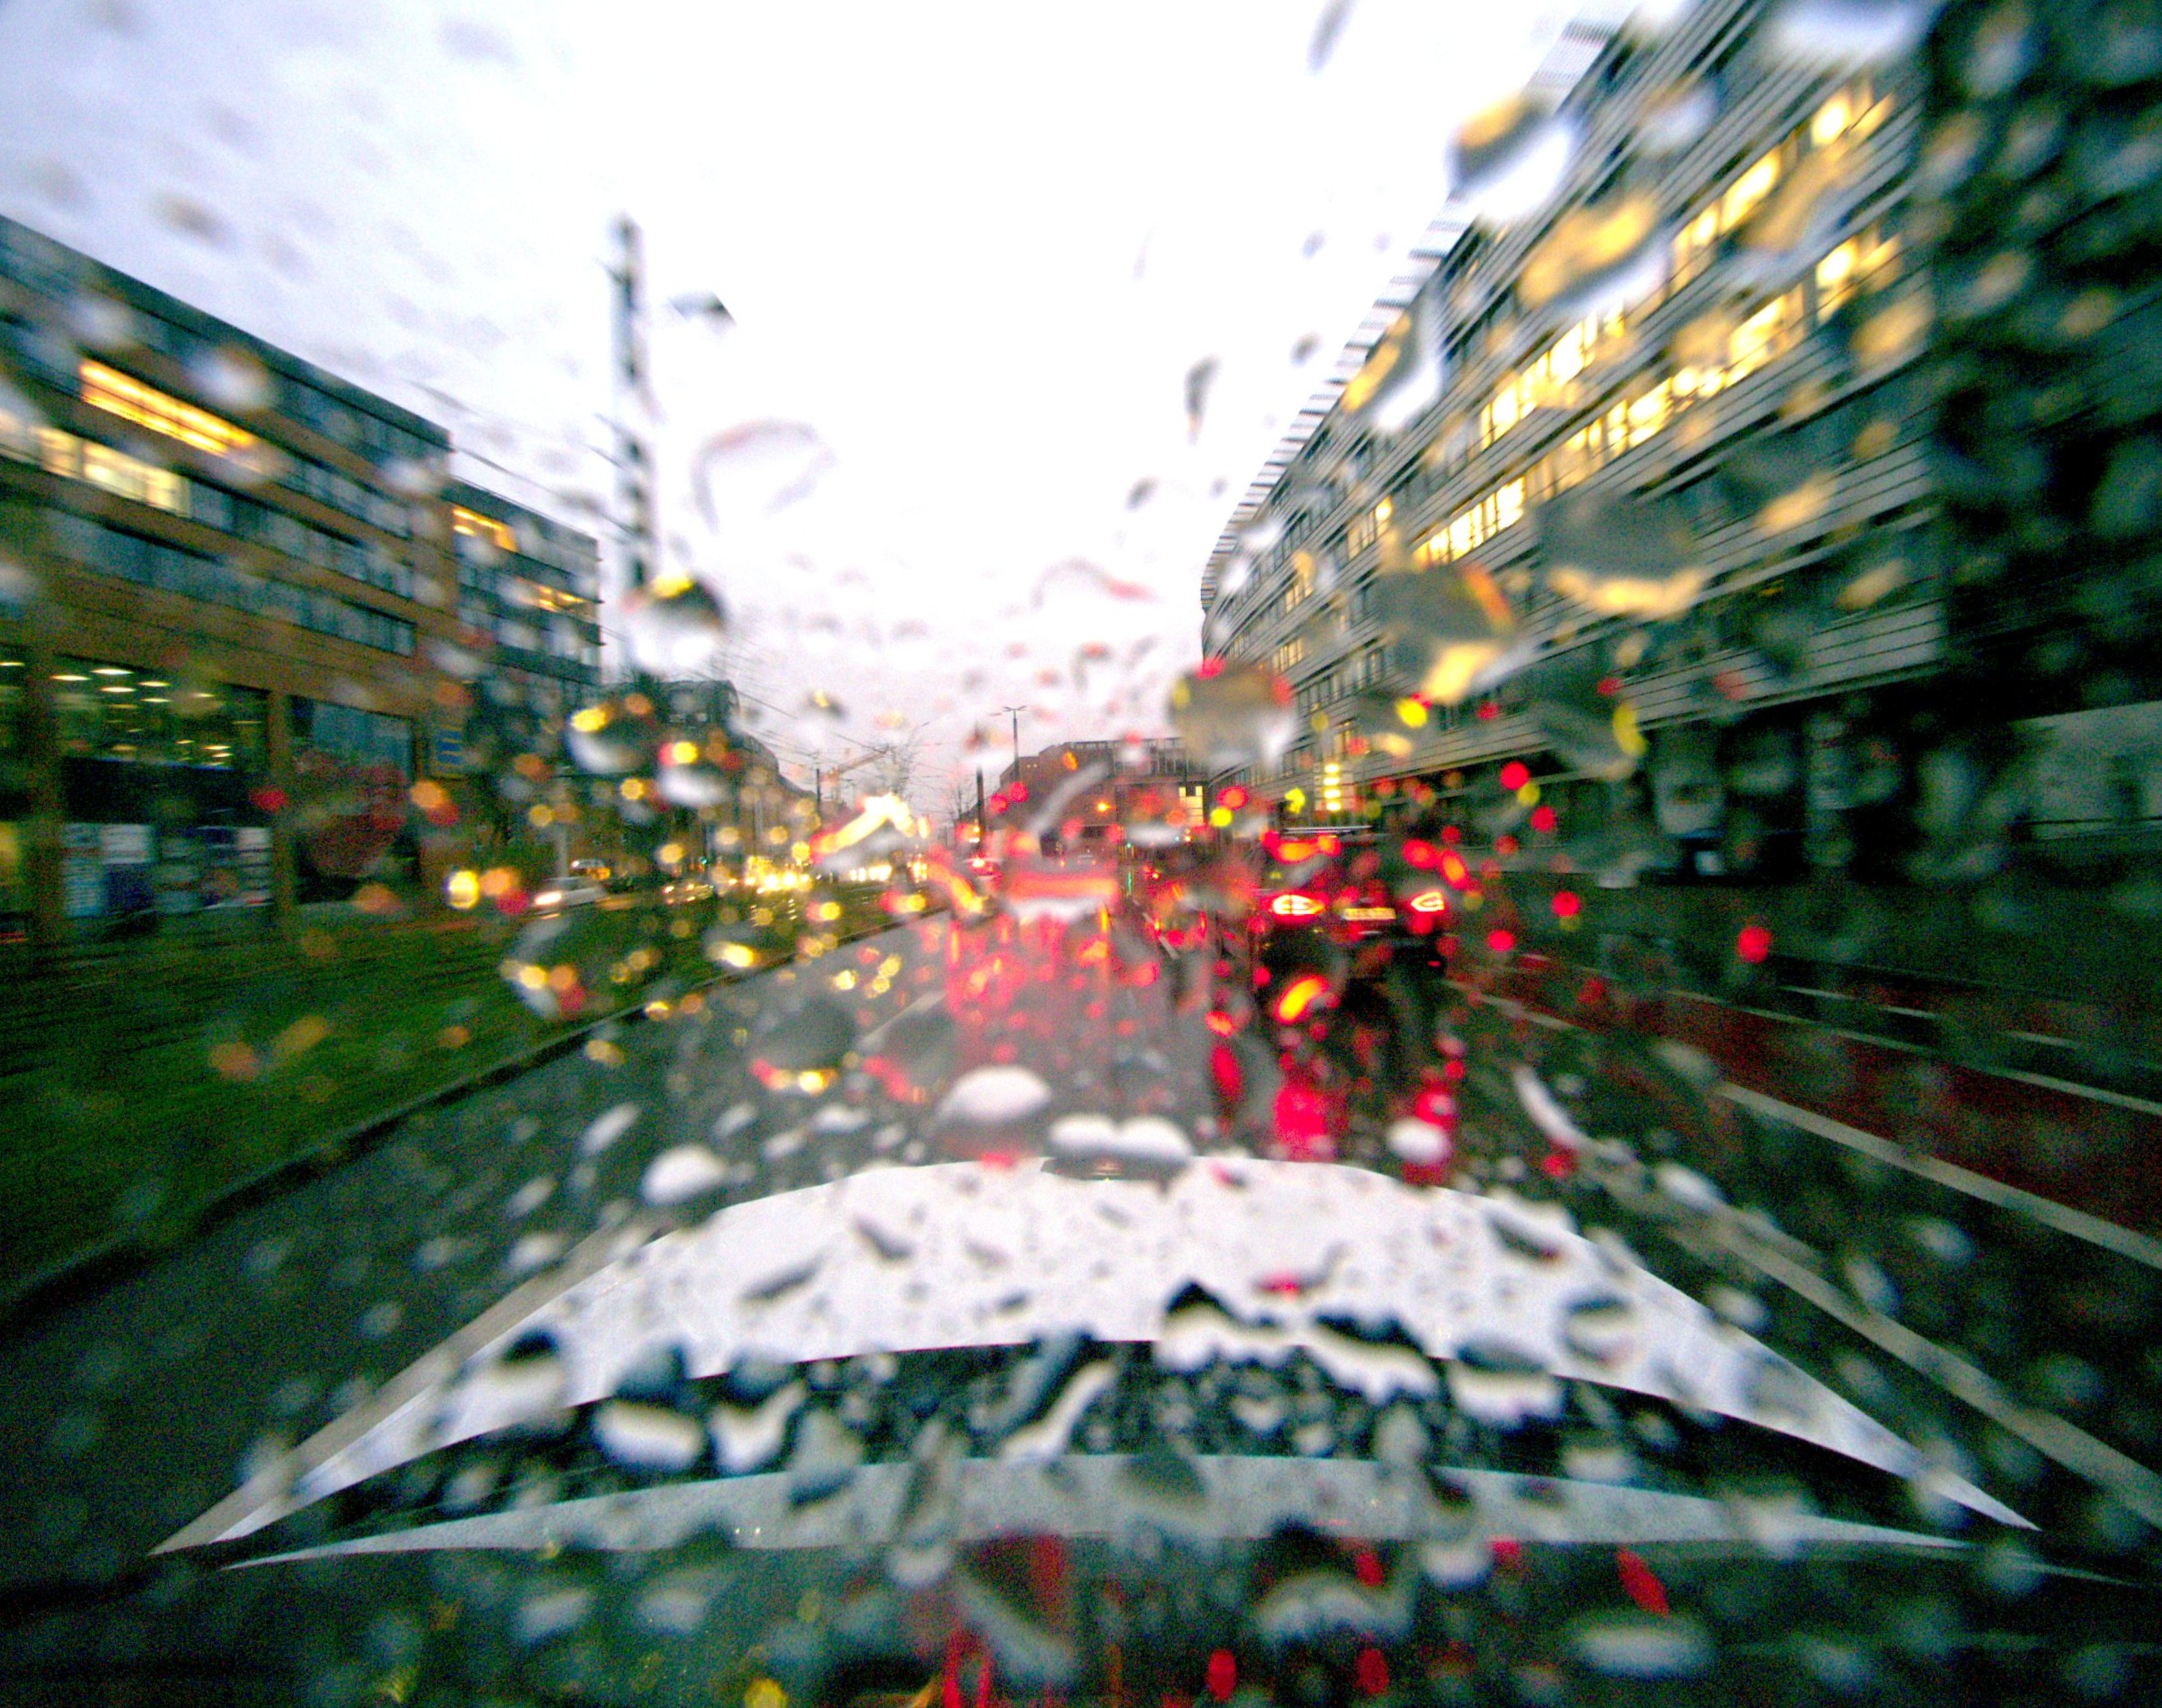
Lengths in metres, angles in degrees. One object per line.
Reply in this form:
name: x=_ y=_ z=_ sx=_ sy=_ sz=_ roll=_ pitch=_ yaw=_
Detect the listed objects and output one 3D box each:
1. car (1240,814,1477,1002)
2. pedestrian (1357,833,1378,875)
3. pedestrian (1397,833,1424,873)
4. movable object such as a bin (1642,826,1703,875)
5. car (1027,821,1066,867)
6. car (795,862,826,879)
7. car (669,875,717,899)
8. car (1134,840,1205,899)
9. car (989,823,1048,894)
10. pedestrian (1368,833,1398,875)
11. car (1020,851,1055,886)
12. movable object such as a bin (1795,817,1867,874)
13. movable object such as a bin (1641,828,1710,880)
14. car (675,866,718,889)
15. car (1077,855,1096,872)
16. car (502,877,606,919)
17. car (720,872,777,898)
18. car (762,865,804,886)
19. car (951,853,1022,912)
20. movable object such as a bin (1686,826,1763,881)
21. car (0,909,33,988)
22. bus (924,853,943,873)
car: x=3.067 y=0.520 z=9.864 sx=1.667 sy=1.779 sz=4.003 roll=-1 pitch=0 yaw=3
pedestrian: x=11.908 y=0.010 z=33.832 sx=0.529 sy=1.683 sz=0.745 roll=-3 pitch=0 yaw=0
pedestrian: x=13.711 y=-0.047 z=33.896 sx=0.723 sy=1.625 sz=0.902 roll=-3 pitch=0 yaw=0
movable object such as a bin: x=16.766 y=-0.093 z=23.093 sx=0.865 sy=1.294 sz=1.009 roll=-4 pitch=0 yaw=-10
car: x=-2.266 y=-0.630 z=54.810 sx=2.349 sy=2.827 sz=6.353 roll=-2 pitch=0 yaw=-2
car: x=-25.231 y=1.547 z=76.115 sx=1.627 sy=1.449 sz=3.621 roll=-2 pitch=0 yaw=0
car: x=-26.058 y=2.182 z=54.797 sx=1.631 sy=1.449 sz=4.406 roll=-2 pitch=0 yaw=-8
car: x=2.970 y=0.477 z=28.264 sx=1.838 sy=1.806 sz=4.485 roll=-2 pitch=0 yaw=-1
car: x=-2.408 y=0.177 z=31.984 sx=1.989 sy=2.427 sz=5.966 roll=-3 pitch=0 yaw=-4
pedestrian: x=12.601 y=0.011 z=34.020 sx=0.790 sy=1.686 sz=1.069 roll=-3 pitch=0 yaw=0
car: x=-2.064 y=0.693 z=38.742 sx=1.514 sy=1.520 sz=3.466 roll=-3 pitch=-1 yaw=-3
movable object such as a bin: x=18.103 y=-0.198 z=19.677 sx=0.729 sy=1.305 sz=0.960 roll=-4 pitch=0 yaw=-10
movable object such as a bin: x=15.828 y=-0.002 z=21.696 sx=0.844 sy=1.294 sz=1.164 roll=-4 pitch=0 yaw=-10
car: x=-30.946 y=1.857 z=65.697 sx=1.627 sy=1.692 sz=3.622 roll=-2 pitch=0 yaw=0
car: x=0.476 y=0.768 z=67.523 sx=1.506 sy=1.305 sz=3.042 roll=-3 pitch=0 yaw=2
car: x=-20.284 y=1.658 z=31.519 sx=1.500 sy=1.373 sz=3.655 roll=-3 pitch=-1 yaw=2
car: x=-20.898 y=1.939 z=51.397 sx=1.723 sy=1.393 sz=4.199 roll=-3 pitch=0 yaw=1
car: x=-23.339 y=1.677 z=63.907 sx=1.990 sy=1.449 sz=4.307 roll=-2 pitch=0 yaw=-5
car: x=-2.691 y=0.763 z=23.875 sx=1.634 sy=1.496 sz=3.684 roll=-3 pitch=1 yaw=-1
movable object such as a bin: x=16.074 y=-0.009 z=20.372 sx=0.844 sy=1.294 sz=1.164 roll=-4 pitch=0 yaw=-10
car: x=-21.267 y=1.826 z=13.759 sx=1.806 sy=1.442 sz=3.963 roll=-3 pitch=0 yaw=6
bus: x=-26.649 y=1.655 z=146.930 sx=2.826 sy=3.372 sz=7.966 roll=-2 pitch=0 yaw=-12
